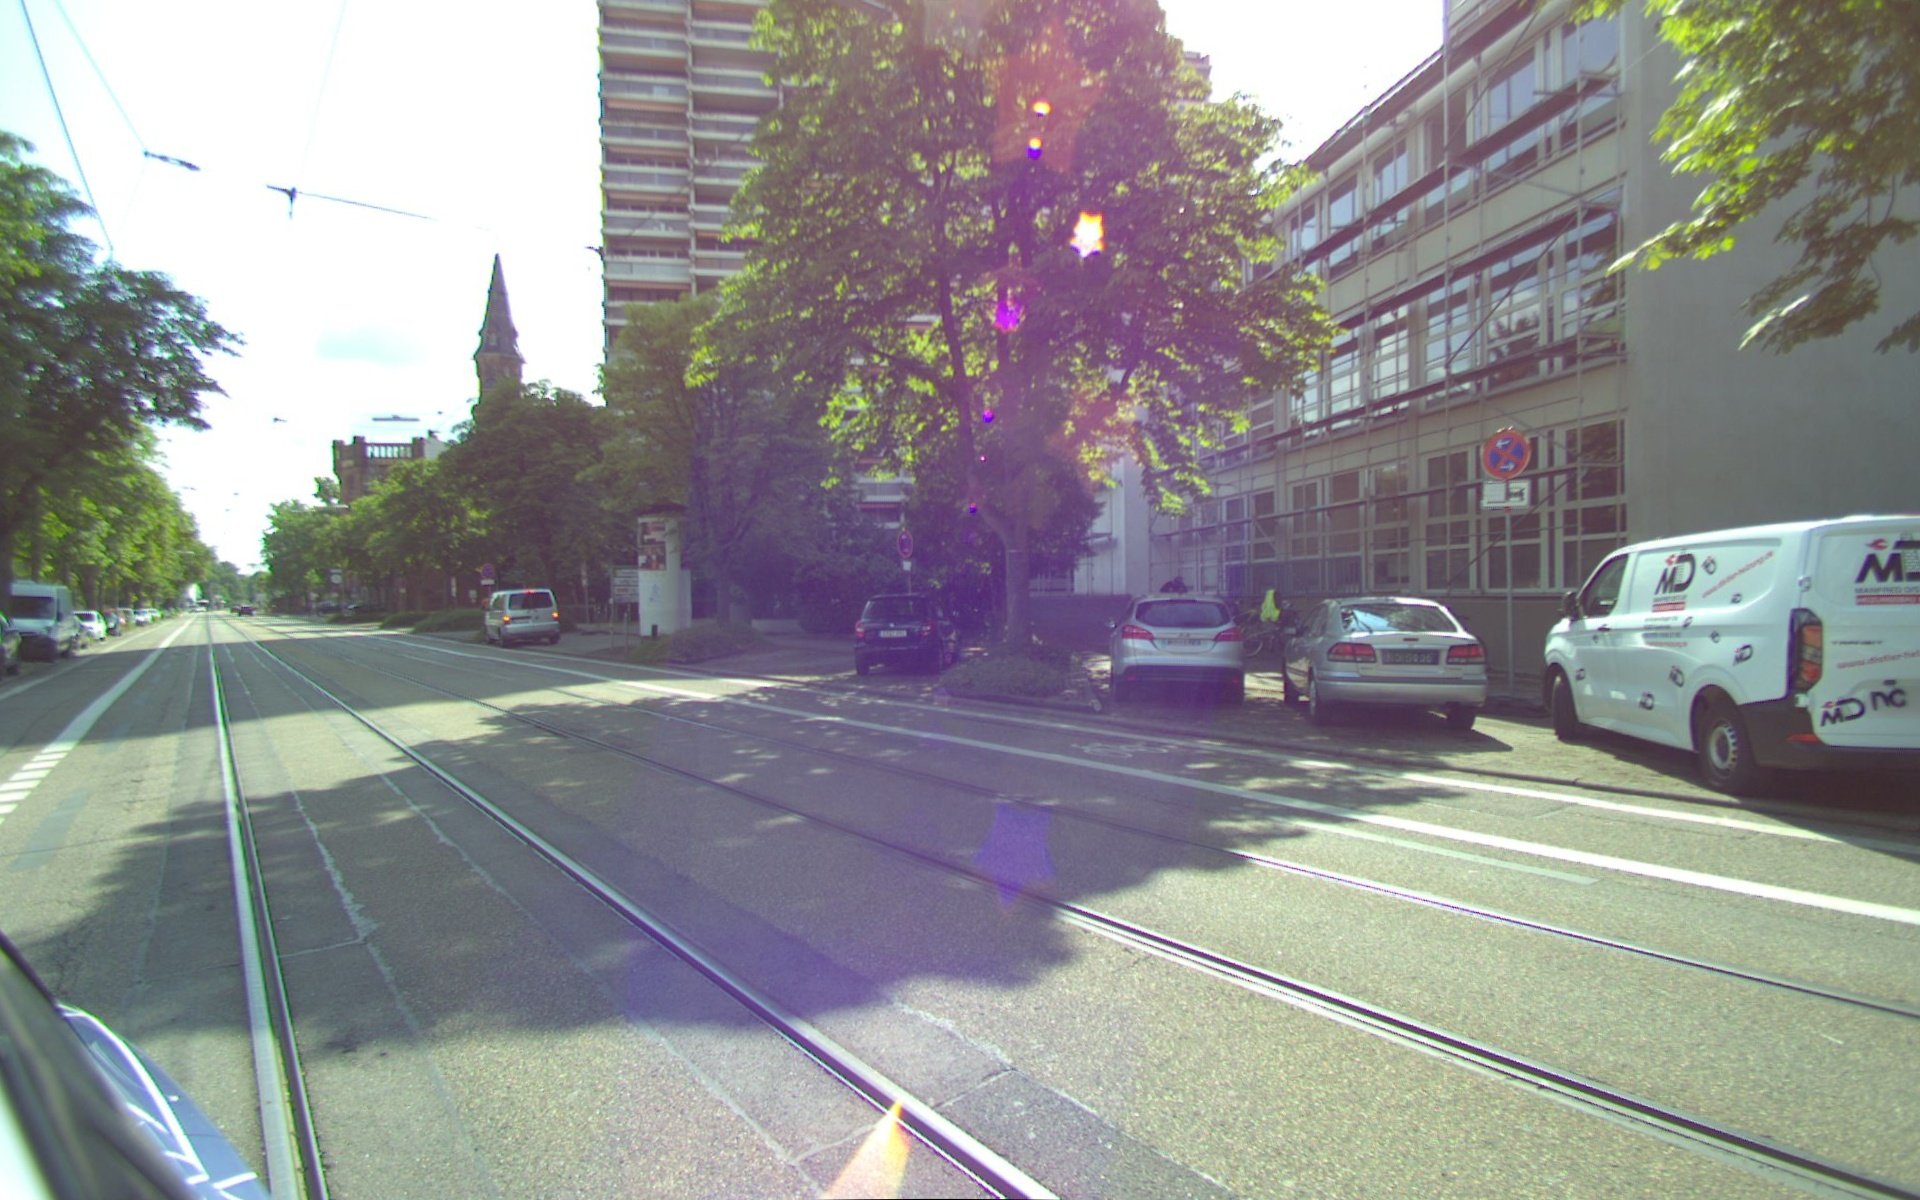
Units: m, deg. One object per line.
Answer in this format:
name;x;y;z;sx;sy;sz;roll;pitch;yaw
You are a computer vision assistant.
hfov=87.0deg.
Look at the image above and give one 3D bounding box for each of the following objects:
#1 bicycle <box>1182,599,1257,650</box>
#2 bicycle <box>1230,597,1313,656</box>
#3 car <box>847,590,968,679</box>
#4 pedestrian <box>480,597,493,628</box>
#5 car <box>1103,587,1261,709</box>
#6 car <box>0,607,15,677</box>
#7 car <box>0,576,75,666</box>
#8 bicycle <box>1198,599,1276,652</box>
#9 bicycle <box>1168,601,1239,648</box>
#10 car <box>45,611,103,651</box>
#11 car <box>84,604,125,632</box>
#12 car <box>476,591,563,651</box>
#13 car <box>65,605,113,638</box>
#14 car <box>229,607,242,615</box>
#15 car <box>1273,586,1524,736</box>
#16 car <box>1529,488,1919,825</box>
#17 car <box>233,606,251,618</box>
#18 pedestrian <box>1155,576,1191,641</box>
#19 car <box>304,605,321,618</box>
bicycle;5.988;0.564;23.348;1.554;1.122;0.543;-1;-2;-13
bicycle;6.494;0.545;21.107;1.554;1.171;0.543;-1;-2;-13
car;-0.916;0.593;19.763;1.721;1.535;3.878;-1;0;6
pedestrian;-27.742;0.701;59.330;0.456;1.767;0.534;-4;4;-43
car;3.067;0.607;14.741;1.800;1.512;4.184;-1;0;7
car;-23.592;1.052;23.665;1.723;1.618;4.245;-5;3;-38
car;-29.803;0.642;31.986;2.302;2.579;5.401;-5;3;-38
bicycle;6.183;0.577;22.581;1.554;1.130;0.543;-1;-2;-13
bicycle;5.928;0.602;24.650;1.554;1.101;0.543;-1;-2;-13
car;-41.733;1.424;47.744;1.723;1.618;4.245;-5;3;-38
car;-54.585;1.117;64.614;1.723;1.618;4.245;-5;3;-38
car;-15.640;0.700;35.805;1.862;1.865;4.247;-5;3;-35
car;-48.195;1.143;56.067;1.723;1.618;4.245;-5;3;-38
car;-153.097;2.263;213.823;1.863;1.656;4.244;-2;1;-39
car;4.968;0.603;12.100;1.802;1.461;4.158;-1;0;10
car;6.587;0.324;8.263;1.948;2.012;4.670;-1;0;11
car;-106.227;1.778;149.764;1.863;1.656;4.244;-2;1;-39
pedestrian;5.528;0.207;26.259;0.662;1.636;0.633;0;2;45
car;-82.994;1.453;129.709;1.603;1.586;3.961;3;-2;-37
